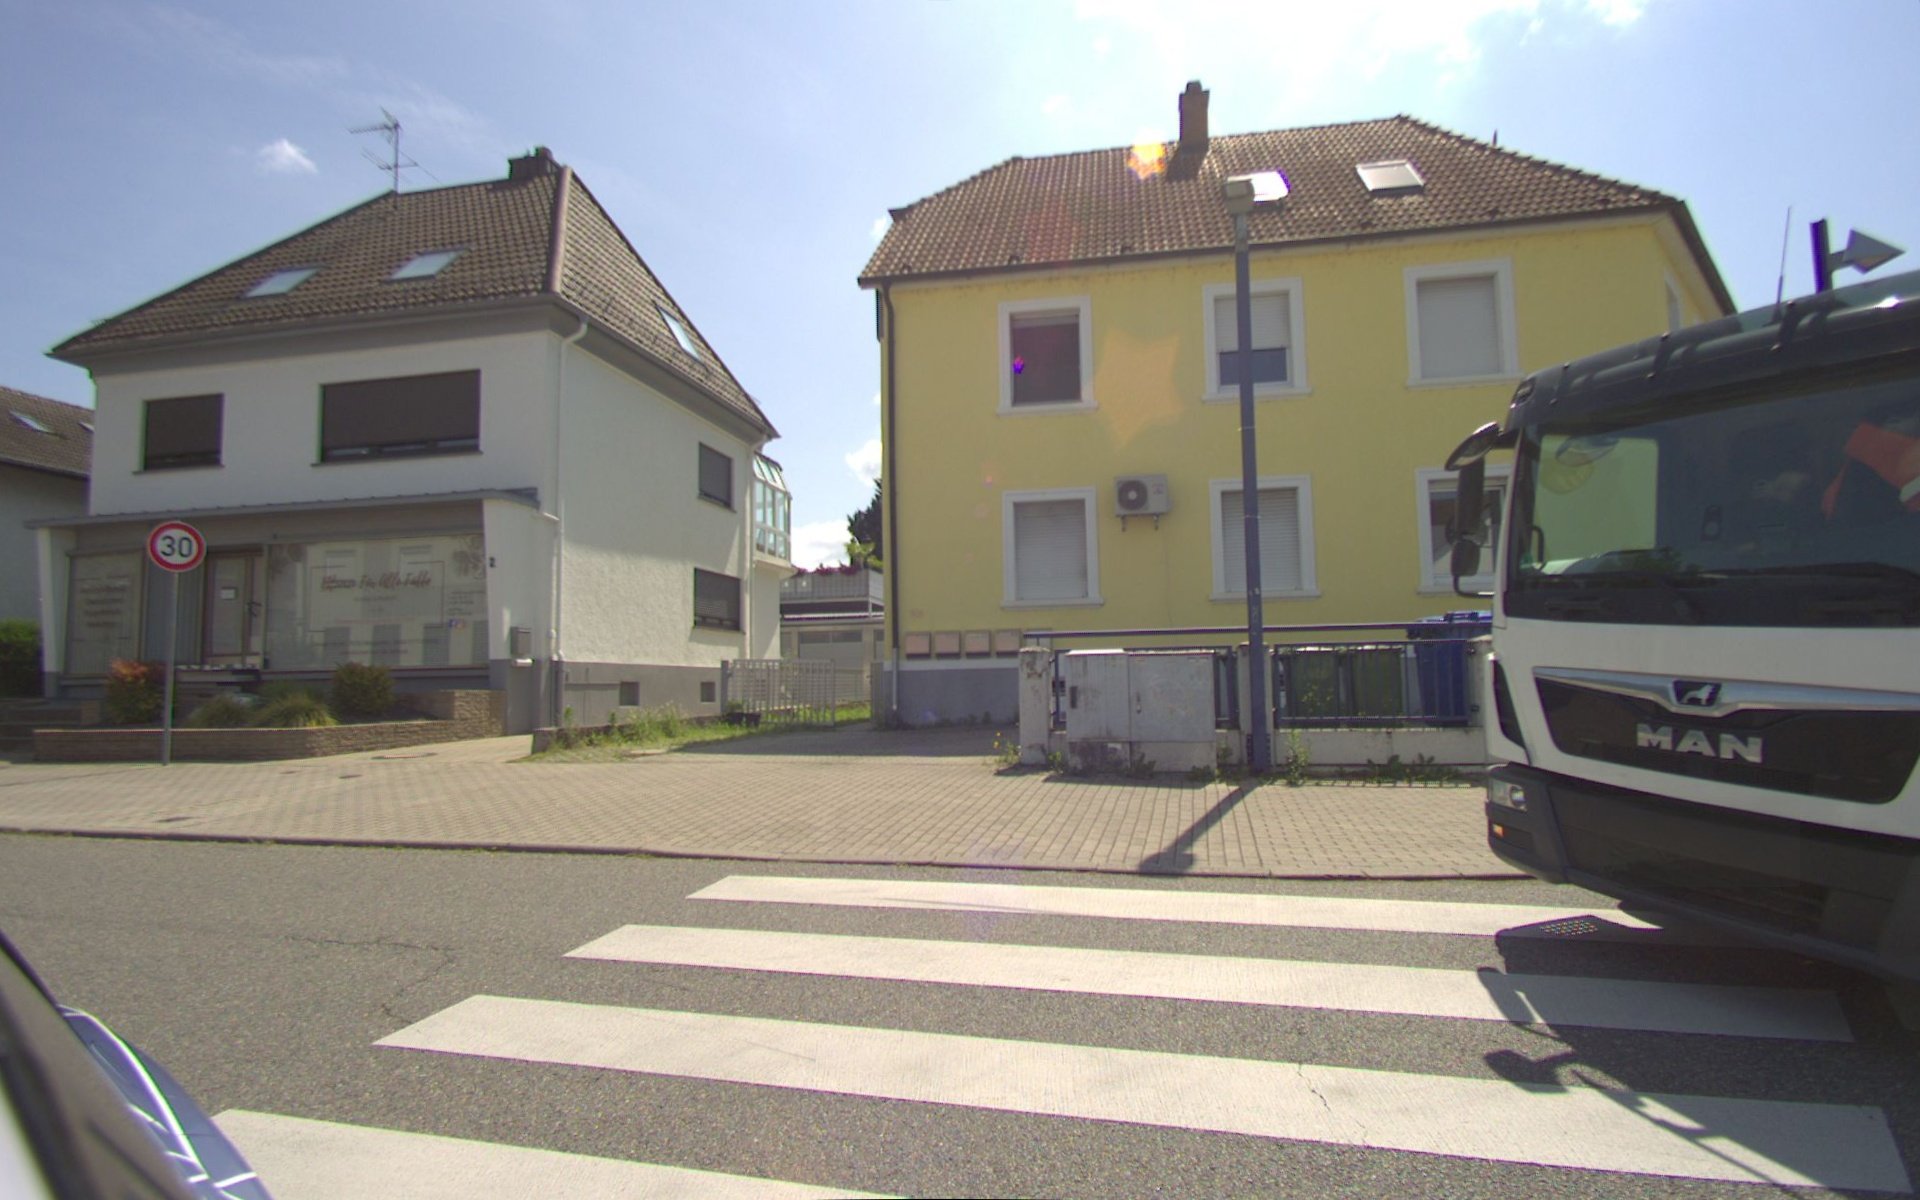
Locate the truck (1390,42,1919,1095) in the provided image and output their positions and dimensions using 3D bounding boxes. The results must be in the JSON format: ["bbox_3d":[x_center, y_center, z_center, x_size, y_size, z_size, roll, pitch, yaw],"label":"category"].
[{"bbox_3d":[6.215,-0.109,4.638,7.933,2.899,2.626,-1,-2,-18],"label":"truck"}]

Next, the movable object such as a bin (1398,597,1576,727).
[{"bbox_3d":[5.218,0.620,10.106,1.258,1.223,0.842,-1,-4,0],"label":"movable object such as a bin"}]
